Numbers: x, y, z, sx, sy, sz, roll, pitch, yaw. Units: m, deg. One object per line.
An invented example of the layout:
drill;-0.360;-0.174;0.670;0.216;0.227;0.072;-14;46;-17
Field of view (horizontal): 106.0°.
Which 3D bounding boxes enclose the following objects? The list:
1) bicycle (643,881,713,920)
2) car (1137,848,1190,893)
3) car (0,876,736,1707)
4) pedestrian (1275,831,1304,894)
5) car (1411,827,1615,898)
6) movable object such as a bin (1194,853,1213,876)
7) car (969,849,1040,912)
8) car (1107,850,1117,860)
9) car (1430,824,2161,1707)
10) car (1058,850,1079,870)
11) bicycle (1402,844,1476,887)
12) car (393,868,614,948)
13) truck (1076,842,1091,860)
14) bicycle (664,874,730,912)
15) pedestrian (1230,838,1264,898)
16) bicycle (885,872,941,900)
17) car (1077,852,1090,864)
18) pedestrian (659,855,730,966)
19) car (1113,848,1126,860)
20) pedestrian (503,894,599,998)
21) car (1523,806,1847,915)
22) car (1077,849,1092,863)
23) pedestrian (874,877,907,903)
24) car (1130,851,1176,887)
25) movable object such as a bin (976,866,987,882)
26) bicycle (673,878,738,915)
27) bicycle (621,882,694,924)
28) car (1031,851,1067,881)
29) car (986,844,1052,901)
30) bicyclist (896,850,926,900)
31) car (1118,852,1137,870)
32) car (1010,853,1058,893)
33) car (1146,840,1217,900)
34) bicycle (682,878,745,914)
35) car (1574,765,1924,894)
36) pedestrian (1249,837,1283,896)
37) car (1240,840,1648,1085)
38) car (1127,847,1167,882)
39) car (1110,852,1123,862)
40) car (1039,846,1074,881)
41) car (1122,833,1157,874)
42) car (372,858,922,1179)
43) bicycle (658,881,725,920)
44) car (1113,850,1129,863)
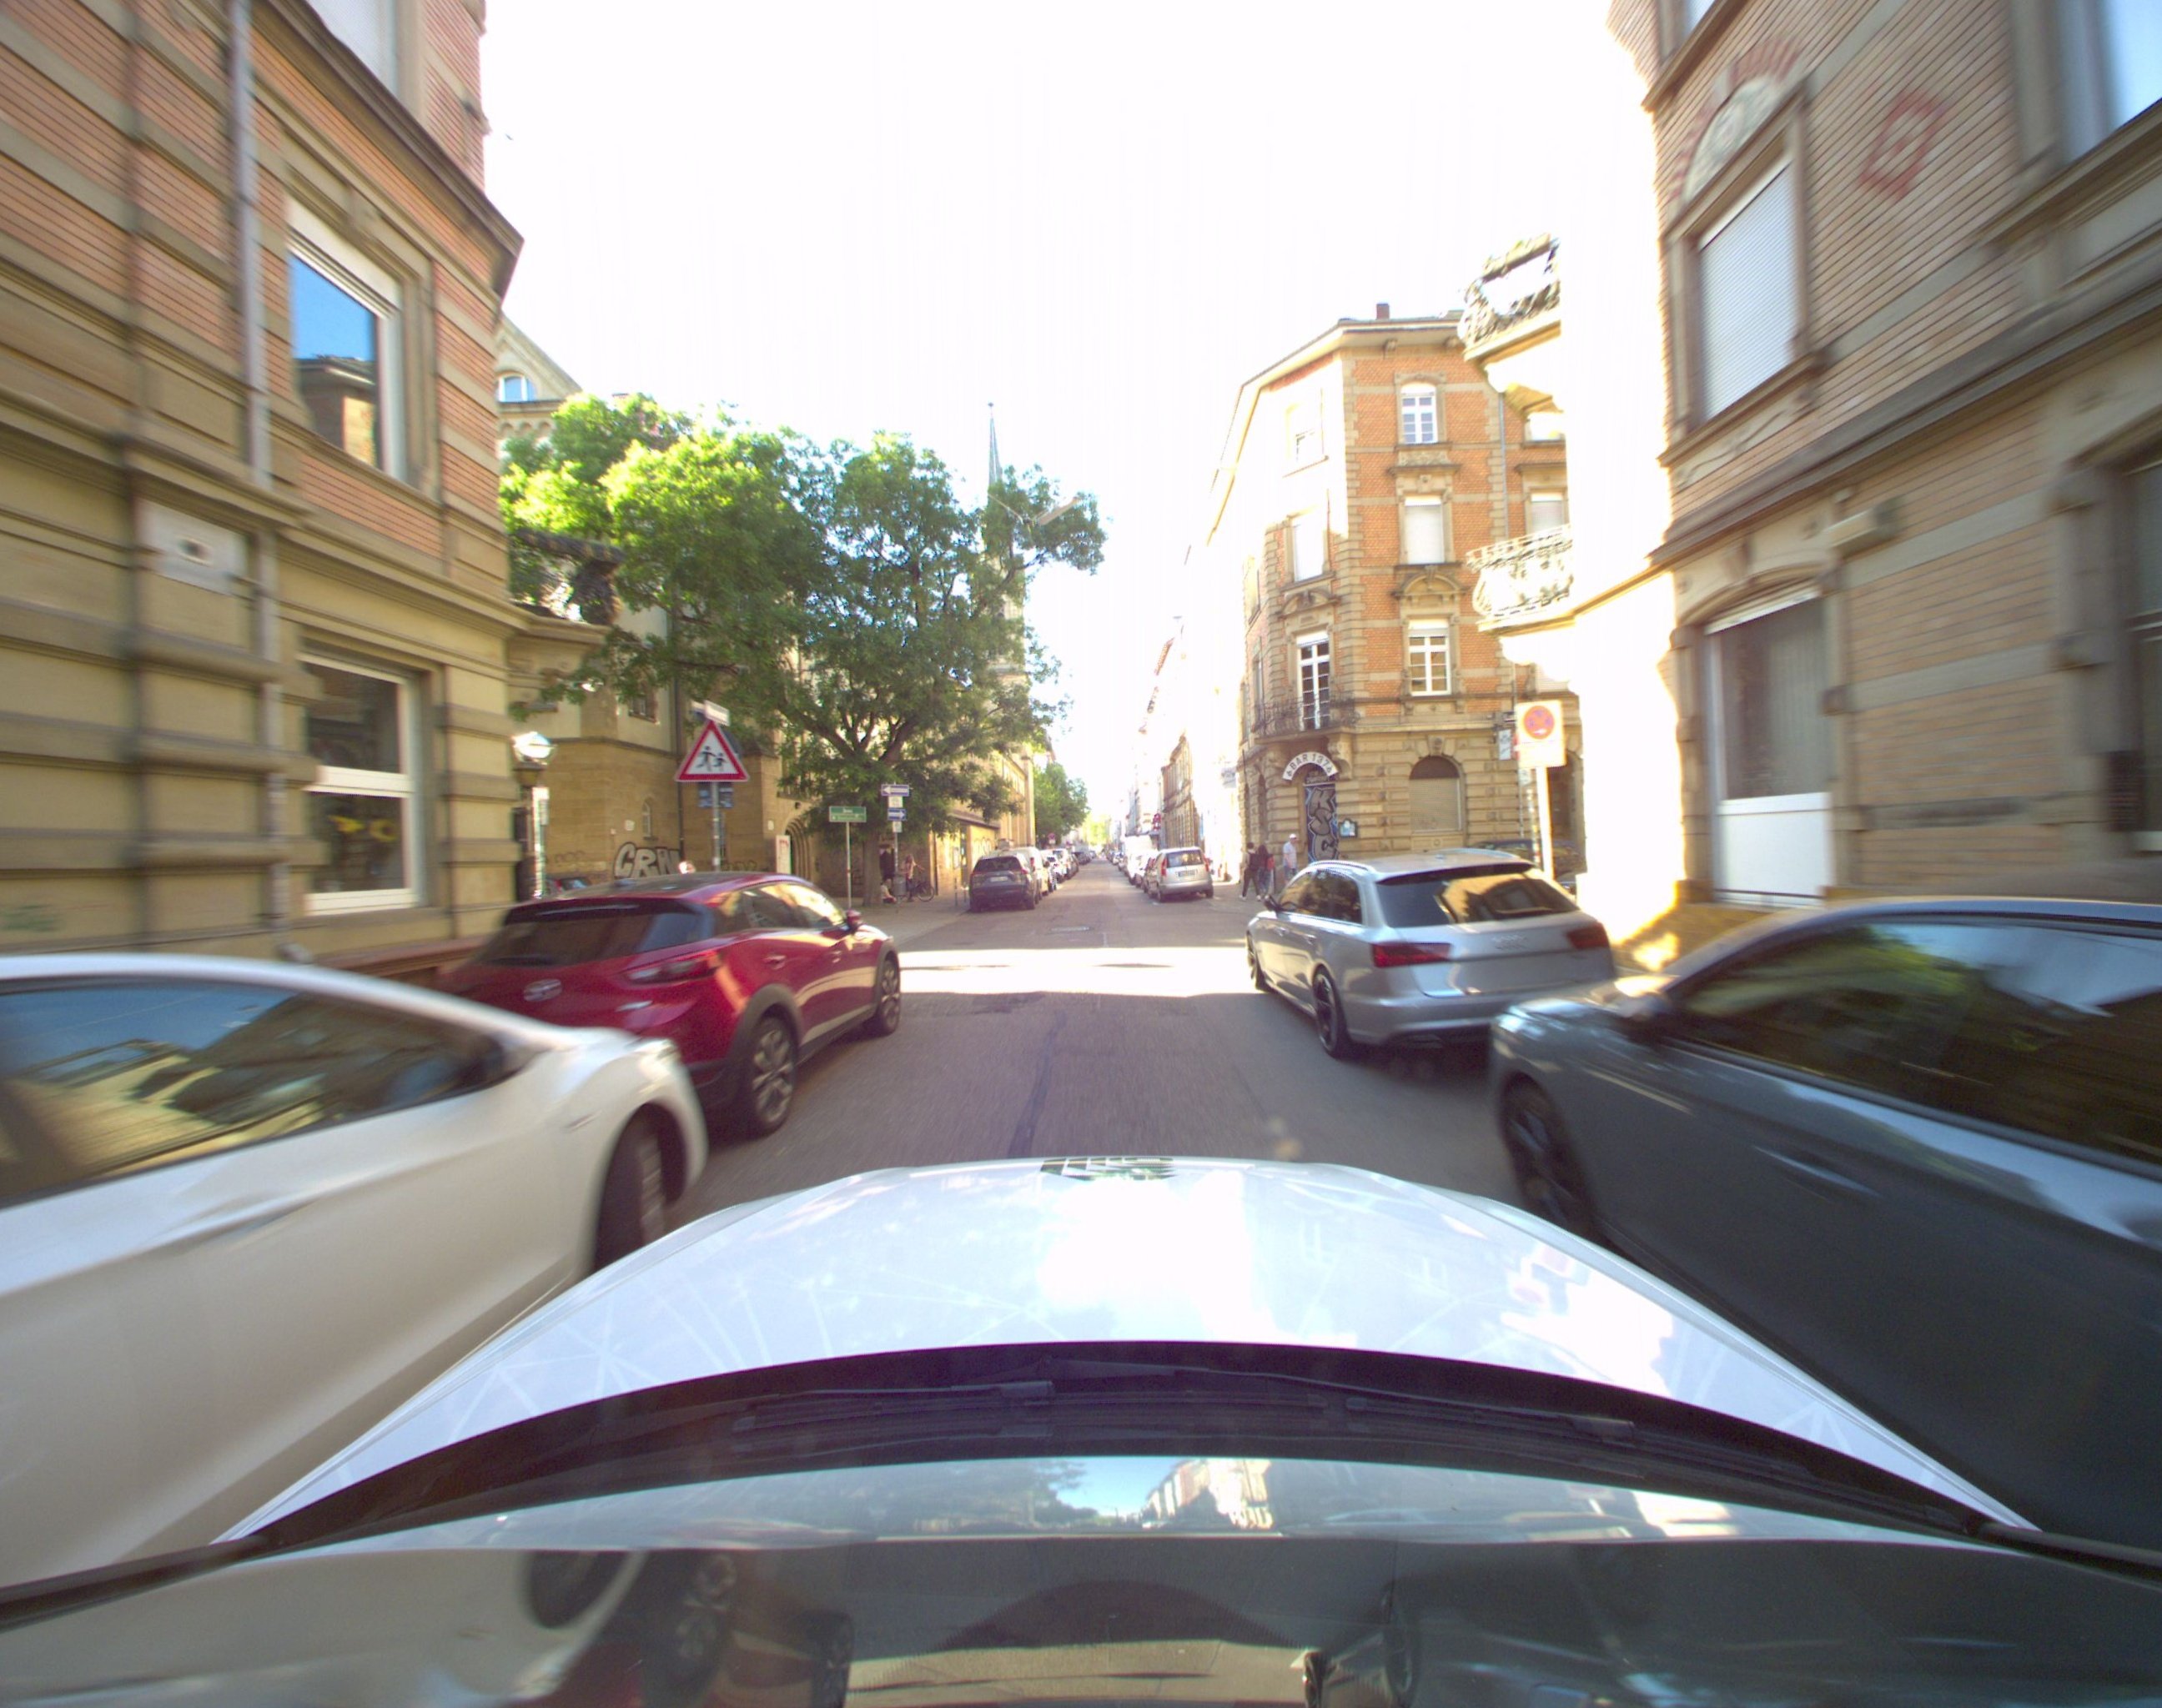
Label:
bicycle;-12.109;1.391;24.474;1.769;1.054;0.534;-3;1;0
car;3.079;0.578;30.840;1.530;1.513;3.681;-3;0;0
car;-2.418;0.834;1.742;1.668;1.420;3.874;-1;0;0
pedestrian;5.988;0.243;23.380;0.656;1.732;0.579;-4;1;21
car;10.310;0.185;19.662;3.965;1.452;1.734;-3;1;2
movable object such as a bin;6.000;0.501;39.947;0.551;1.052;0.597;-6;0;-32
car;-2.245;0.725;24.831;1.735;1.646;4.287;-3;0;-1
car;6.660;0.273;176.573;1.986;2.013;4.002;-3;0;2
car;2.479;0.691;1.967;1.660;1.479;3.889;-3;1;2
car;-1.109;0.540;72.825;1.594;1.614;3.809;-5;0;1
bicycle;9.827;0.312;22.375;1.769;1.054;0.534;-3;0;0
car;-13.867;1.265;19.714;3.973;1.598;1.771;-2;2;0
truck;0.497;-0.557;150.580;2.522;3.281;6.997;-3;0;2
bicycle;-11.939;1.204;25.357;1.769;1.054;0.478;-3;1;0
pedestrian;4.648;0.379;22.796;0.591;1.603;0.724;-4;1;-13
bicycle;-5.863;1.125;28.460;1.751;0.923;0.829;0;0;9
car;0.350;0.648;134.010;1.871;1.796;3.997;-3;0;-2
pedestrian;-5.764;0.821;12.181;0.664;1.580;0.760;-2;0;0
car;5.688;-0.018;120.780;1.762;1.741;4.002;-3;0;2
pedestrian;-6.491;1.098;9.987;0.660;1.177;0.752;-2;0;31
car;9.991;0.090;13.659;4.234;1.470;1.766;-3;0;-5
car;0.433;0.206;112.157;1.868;1.796;4.002;-3;0;2
pedestrian;-6.231;1.168;26.620;0.920;0.778;0.697;-3;0;-23
car;3.175;0.633;36.741;1.568;1.525;3.904;0;0;-2
movable object such as a bin;-5.272;1.079;43.208;0.451;0.807;0.590;-2;0;1
bicycle;-11.933;1.355;25.882;1.769;1.054;0.478;-3;1;0
bicycle;-12.120;1.394;23.337;1.769;1.054;0.534;-3;1;0
car;-1.753;0.655;46.118;1.736;1.586;3.870;-2;0;1
car;-2.203;0.593;30.112;1.838;1.862;4.468;-3;1;2
bicyclist;-5.928;0.715;28.472;0.800;1.723;0.694;0;1;9
car;4.105;0.584;71.619;1.597;1.504;4.003;-1;0;3
car;-1.984;0.781;35.386;1.681;1.476;3.861;-5;0;1
car;3.160;0.465;26.378;1.698;1.714;3.937;-3;0;0
bicycle;-11.948;1.356;26.498;1.769;1.054;0.478;-3;1;0
car;16.024;-0.607;19.807;6.784;2.650;2.068;-3;2;1
pedestrian;5.210;0.346;22.955;0.574;1.621;0.731;-4;1;-13
car;2.651;0.657;7.218;1.700;1.459;4.513;-1;0;2
car;3.273;0.509;41.047;1.801;1.690;4.216;-1;0;2
car;5.815;0.528;134.202;1.986;1.632;4.002;0;0;2
car;-1.517;0.560;51.922;1.858;1.957;4.611;-4;0;1
car;3.956;-0.071;55.766;2.060;2.611;5.890;-2;0;2
car;-2.502;0.808;5.984;1.716;1.481;4.091;-1;0;2
bicycle;-11.928;1.417;24.955;1.769;1.054;0.478;-3;1;0
car;4.940;0.253;100.359;1.890;1.488;3.871;-3;0;2
